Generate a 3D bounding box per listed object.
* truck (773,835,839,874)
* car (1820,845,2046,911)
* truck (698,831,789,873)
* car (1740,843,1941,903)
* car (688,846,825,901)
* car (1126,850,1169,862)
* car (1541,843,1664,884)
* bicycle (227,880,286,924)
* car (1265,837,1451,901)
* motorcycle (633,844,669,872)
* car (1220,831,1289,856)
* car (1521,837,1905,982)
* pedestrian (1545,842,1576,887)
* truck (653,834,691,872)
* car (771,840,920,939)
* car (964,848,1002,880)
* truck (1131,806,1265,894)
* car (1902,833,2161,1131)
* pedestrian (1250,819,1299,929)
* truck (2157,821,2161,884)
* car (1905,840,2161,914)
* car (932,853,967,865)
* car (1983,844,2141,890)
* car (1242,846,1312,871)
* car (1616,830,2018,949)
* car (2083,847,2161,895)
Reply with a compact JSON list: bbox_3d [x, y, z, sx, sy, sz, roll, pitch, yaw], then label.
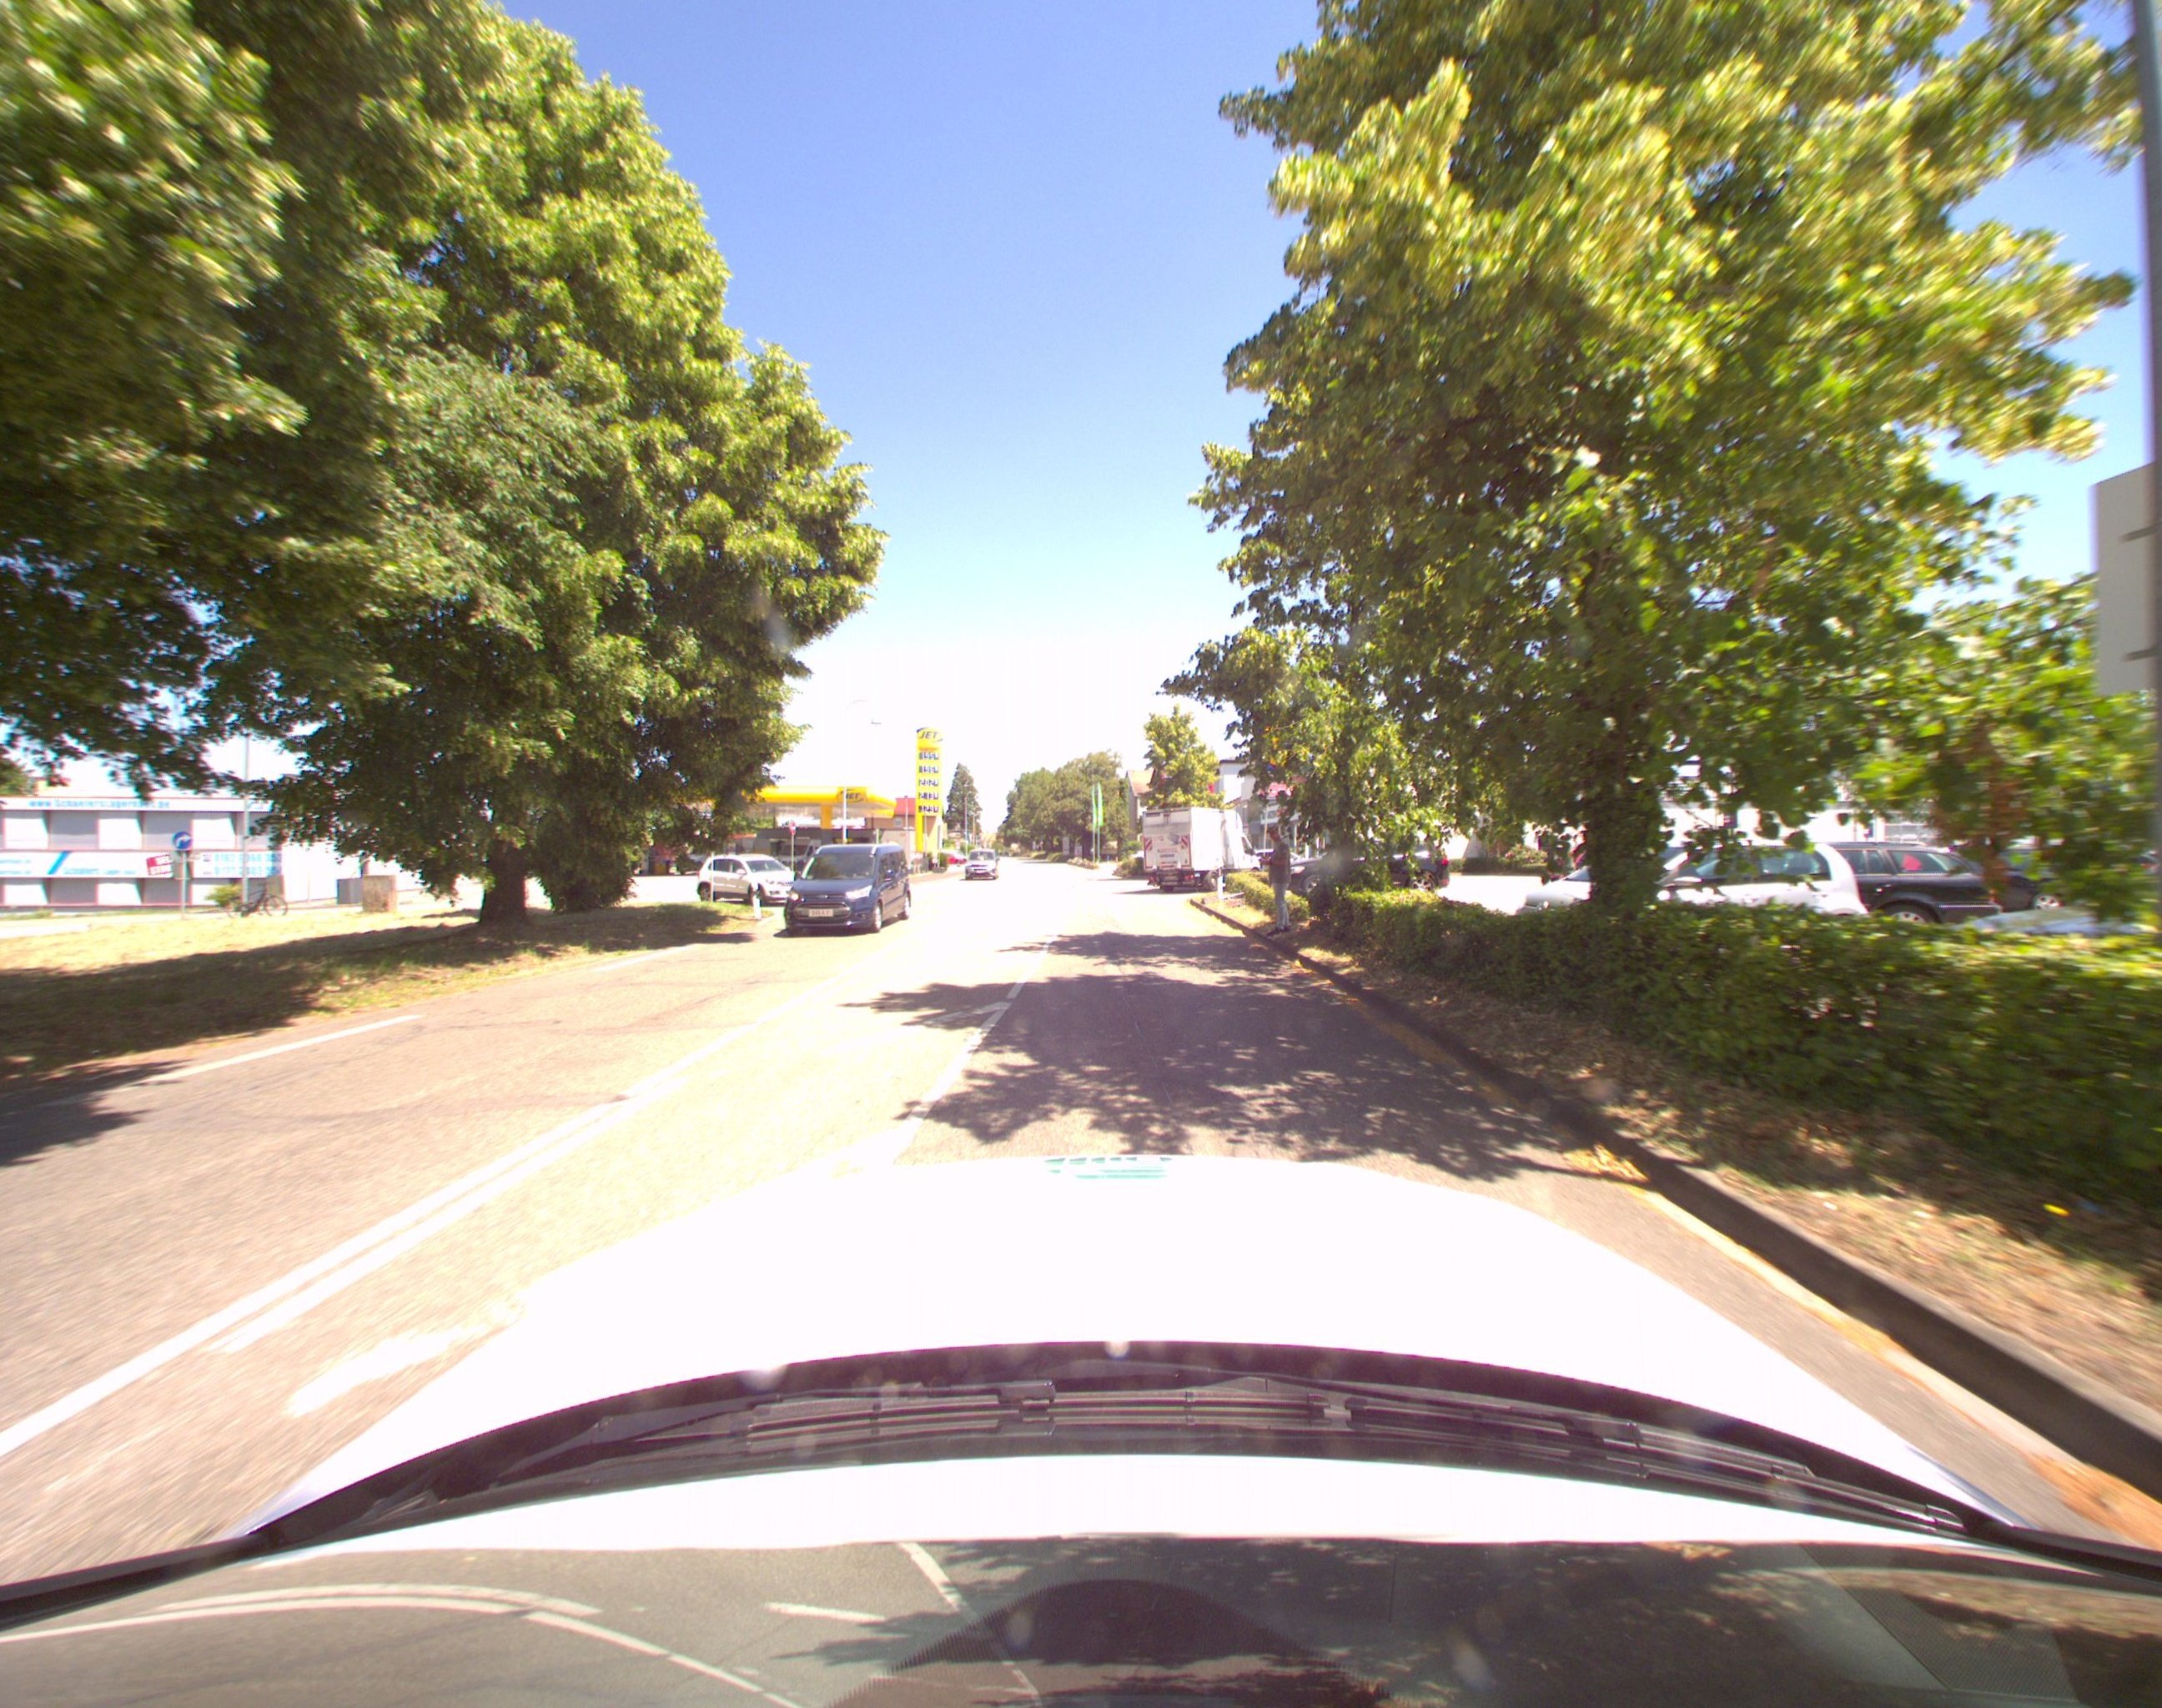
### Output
[{"bbox_3d":[-19.632,0.026,58.526,2.225,2.598,6.736,0,0,2],"label":"truck"},{"bbox_3d":[19.969,0.535,19.191,3.586,1.457,1.745,0,0,-2],"label":"car"},{"bbox_3d":[-24.712,-0.154,60.063,2.620,2.913,6.759,0,0,15],"label":"truck"},{"bbox_3d":[19.979,0.475,21.533,3.712,1.504,1.818,0,0,-2],"label":"car"},{"bbox_3d":[-10.819,0.606,27.109,4.194,1.672,1.988,0,1,29],"label":"car"},{"bbox_3d":[7.381,0.207,90.513,4.369,1.371,1.938,0,0,-29],"label":"car"},{"bbox_3d":[20.671,0.379,32.349,3.983,1.532,1.648,1,0,-7],"label":"car"},{"bbox_3d":[-26.252,1.528,25.935,1.529,1.349,0.395,-1,0,4],"label":"bicycle"},{"bbox_3d":[7.438,0.388,22.213,4.495,1.667,1.896,0,0,3],"label":"car"},{"bbox_3d":[-31.139,0.282,59.037,0.832,2.014,2.799,0,0,7],"label":"motorcycle"},{"bbox_3d":[12.039,-0.716,56.450,4.549,1.642,2.007,-1,0,13],"label":"car"},{"bbox_3d":[7.256,0.575,9.551,3.391,1.506,1.580,-1,1,-4],"label":"car"},{"bbox_3d":[17.368,0.372,29.506,0.676,1.591,0.706,0,0,0],"label":"pedestrian"},{"bbox_3d":[-35.220,-0.104,70.261,1.843,3.242,3.184,0,1,-5],"label":"truck"},{"bbox_3d":[-4.881,0.651,17.654,1.817,1.781,4.781,-2,0,0],"label":"car"},{"bbox_3d":[-5.703,0.547,47.603,1.791,1.772,4.361,-1,1,-2],"label":"car"},{"bbox_3d":[4.520,-0.169,30.418,2.391,2.948,5.992,0,1,36],"label":"truck"},{"bbox_3d":[7.490,0.617,4.516,4.302,1.481,1.807,0,0,-4],"label":"car"},{"bbox_3d":[3.212,0.326,13.587,0.725,1.789,0.622,0,0,7],"label":"pedestrian"},{"bbox_3d":[44.568,-0.048,30.603,5.451,2.457,2.179,0,0,0],"label":"truck"},{"bbox_3d":[19.321,0.438,16.531,3.586,1.417,1.671,0,0,-2],"label":"car"},{"bbox_3d":[-16.155,0.647,99.886,4.121,1.444,1.823,0,0,-7],"label":"car"},{"bbox_3d":[36.765,0.484,30.596,3.846,1.649,1.653,0,0,3],"label":"car"},{"bbox_3d":[11.687,0.271,48.749,3.962,1.460,1.810,-1,0,10],"label":"car"},{"bbox_3d":[10.622,0.433,12.249,4.245,1.504,1.757,1,0,35],"label":"car"},{"bbox_3d":[36.818,0.543,27.494,3.737,1.560,1.750,0,0,2],"label":"car"}]
